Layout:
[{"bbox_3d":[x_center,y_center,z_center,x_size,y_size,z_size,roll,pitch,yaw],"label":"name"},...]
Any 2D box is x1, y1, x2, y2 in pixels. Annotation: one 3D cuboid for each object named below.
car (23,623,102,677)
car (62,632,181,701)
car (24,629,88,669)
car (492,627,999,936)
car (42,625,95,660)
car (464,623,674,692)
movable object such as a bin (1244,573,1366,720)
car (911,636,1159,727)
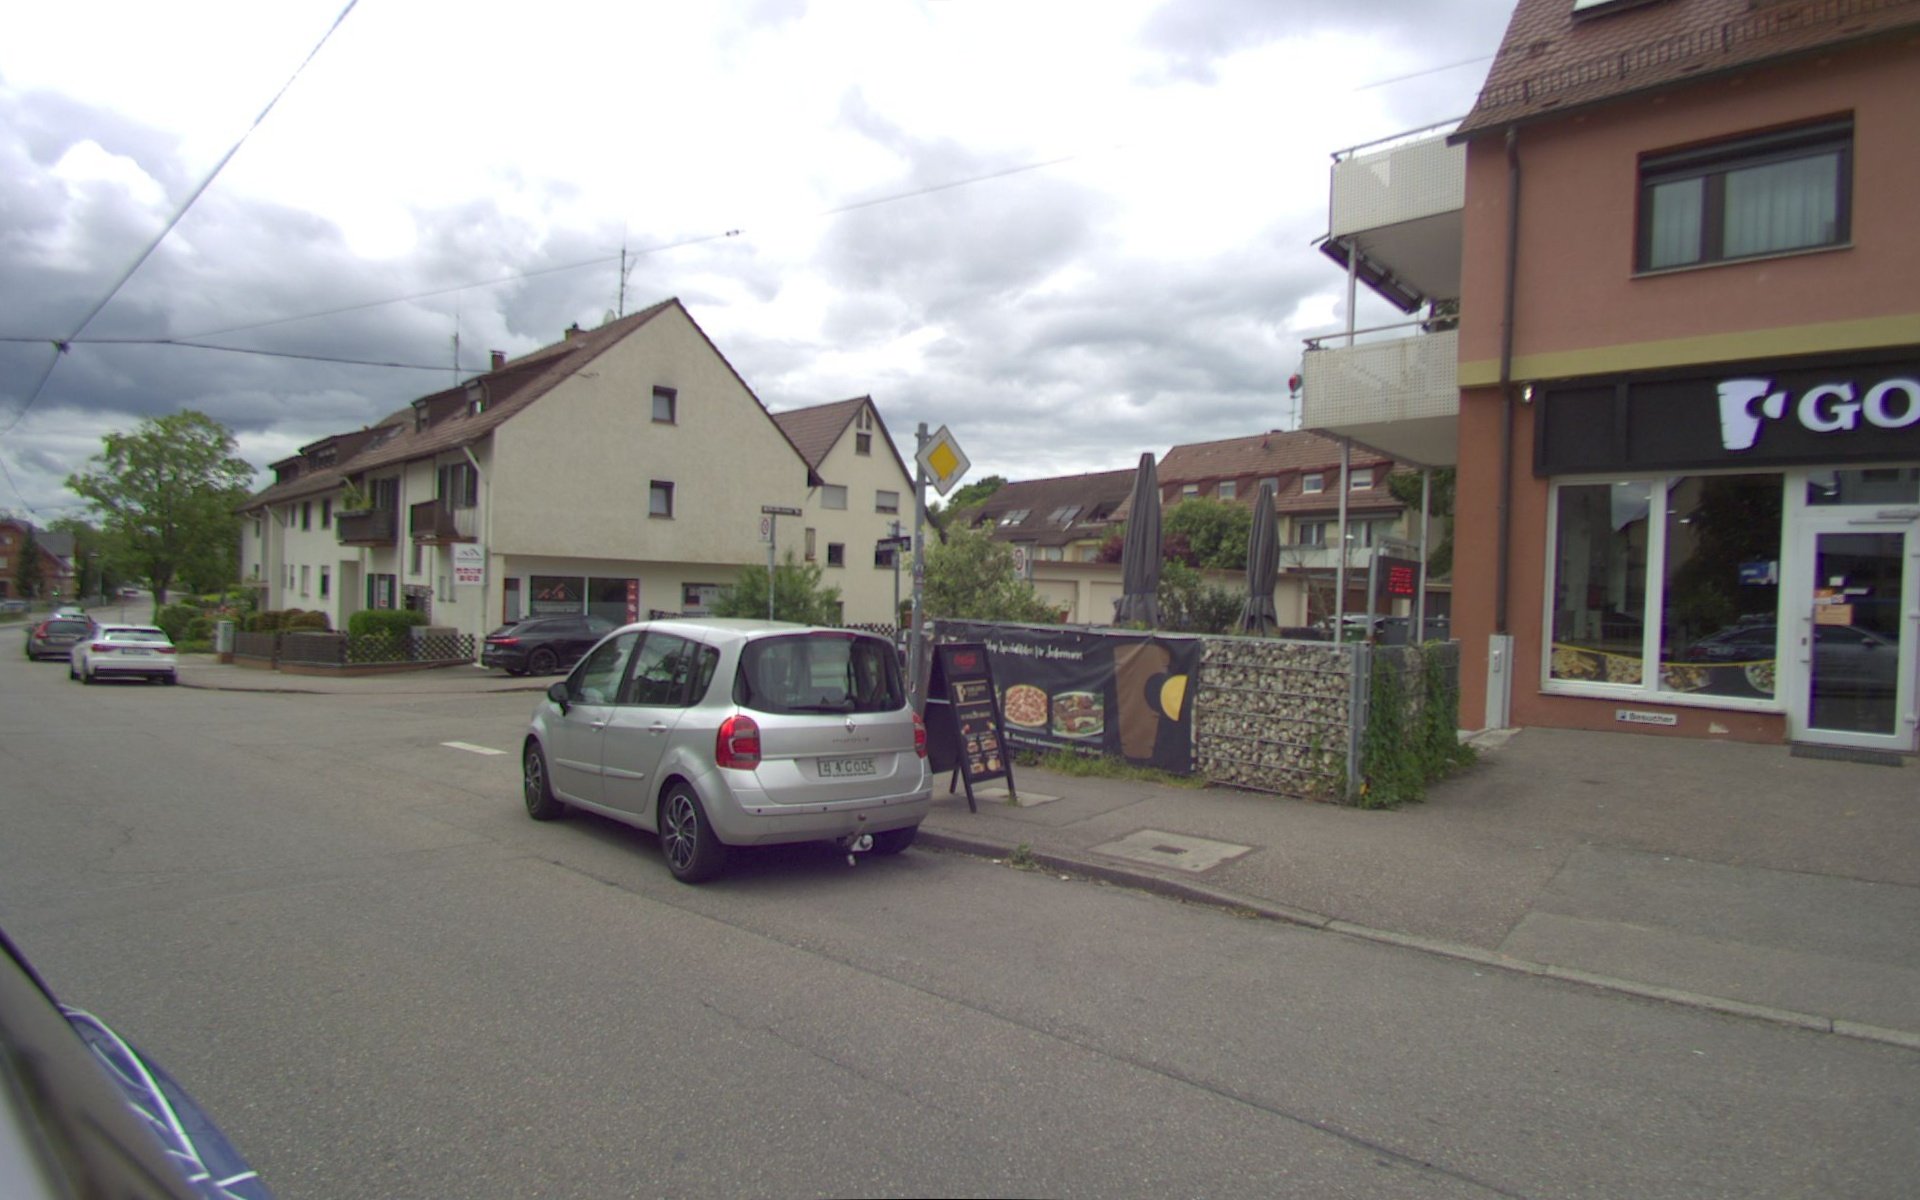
[{"bbox_3d":[-31.988,1.748,36.031,1.825,1.693,4.791,6,-5,-43],"label":"car"},{"bbox_3d":[-20.310,1.573,24.460,3.900,1.469,1.706,-1,-5,44],"label":"car"},{"bbox_3d":[-37.046,1.988,41.437,1.741,1.449,4.082,7,-6,-43],"label":"car"},{"bbox_3d":[-1.783,1.042,7.380,1.811,1.590,4.037,5,-5,-41],"label":"car"},{"bbox_3d":[-48.281,2.276,54.904,1.826,1.727,4.584,3,-3,-38],"label":"car"},{"bbox_3d":[-9.655,1.356,25.218,4.465,1.483,2.002,0,-1,-44],"label":"car"},{"bbox_3d":[6.113,0.805,18.024,1.262,2.476,1.643,0,-2,-20],"label":"movable object such as a bin"},{"bbox_3d":[1.457,1.513,19.574,4.342,1.483,2.007,2,0,-27],"label":"car"}]
